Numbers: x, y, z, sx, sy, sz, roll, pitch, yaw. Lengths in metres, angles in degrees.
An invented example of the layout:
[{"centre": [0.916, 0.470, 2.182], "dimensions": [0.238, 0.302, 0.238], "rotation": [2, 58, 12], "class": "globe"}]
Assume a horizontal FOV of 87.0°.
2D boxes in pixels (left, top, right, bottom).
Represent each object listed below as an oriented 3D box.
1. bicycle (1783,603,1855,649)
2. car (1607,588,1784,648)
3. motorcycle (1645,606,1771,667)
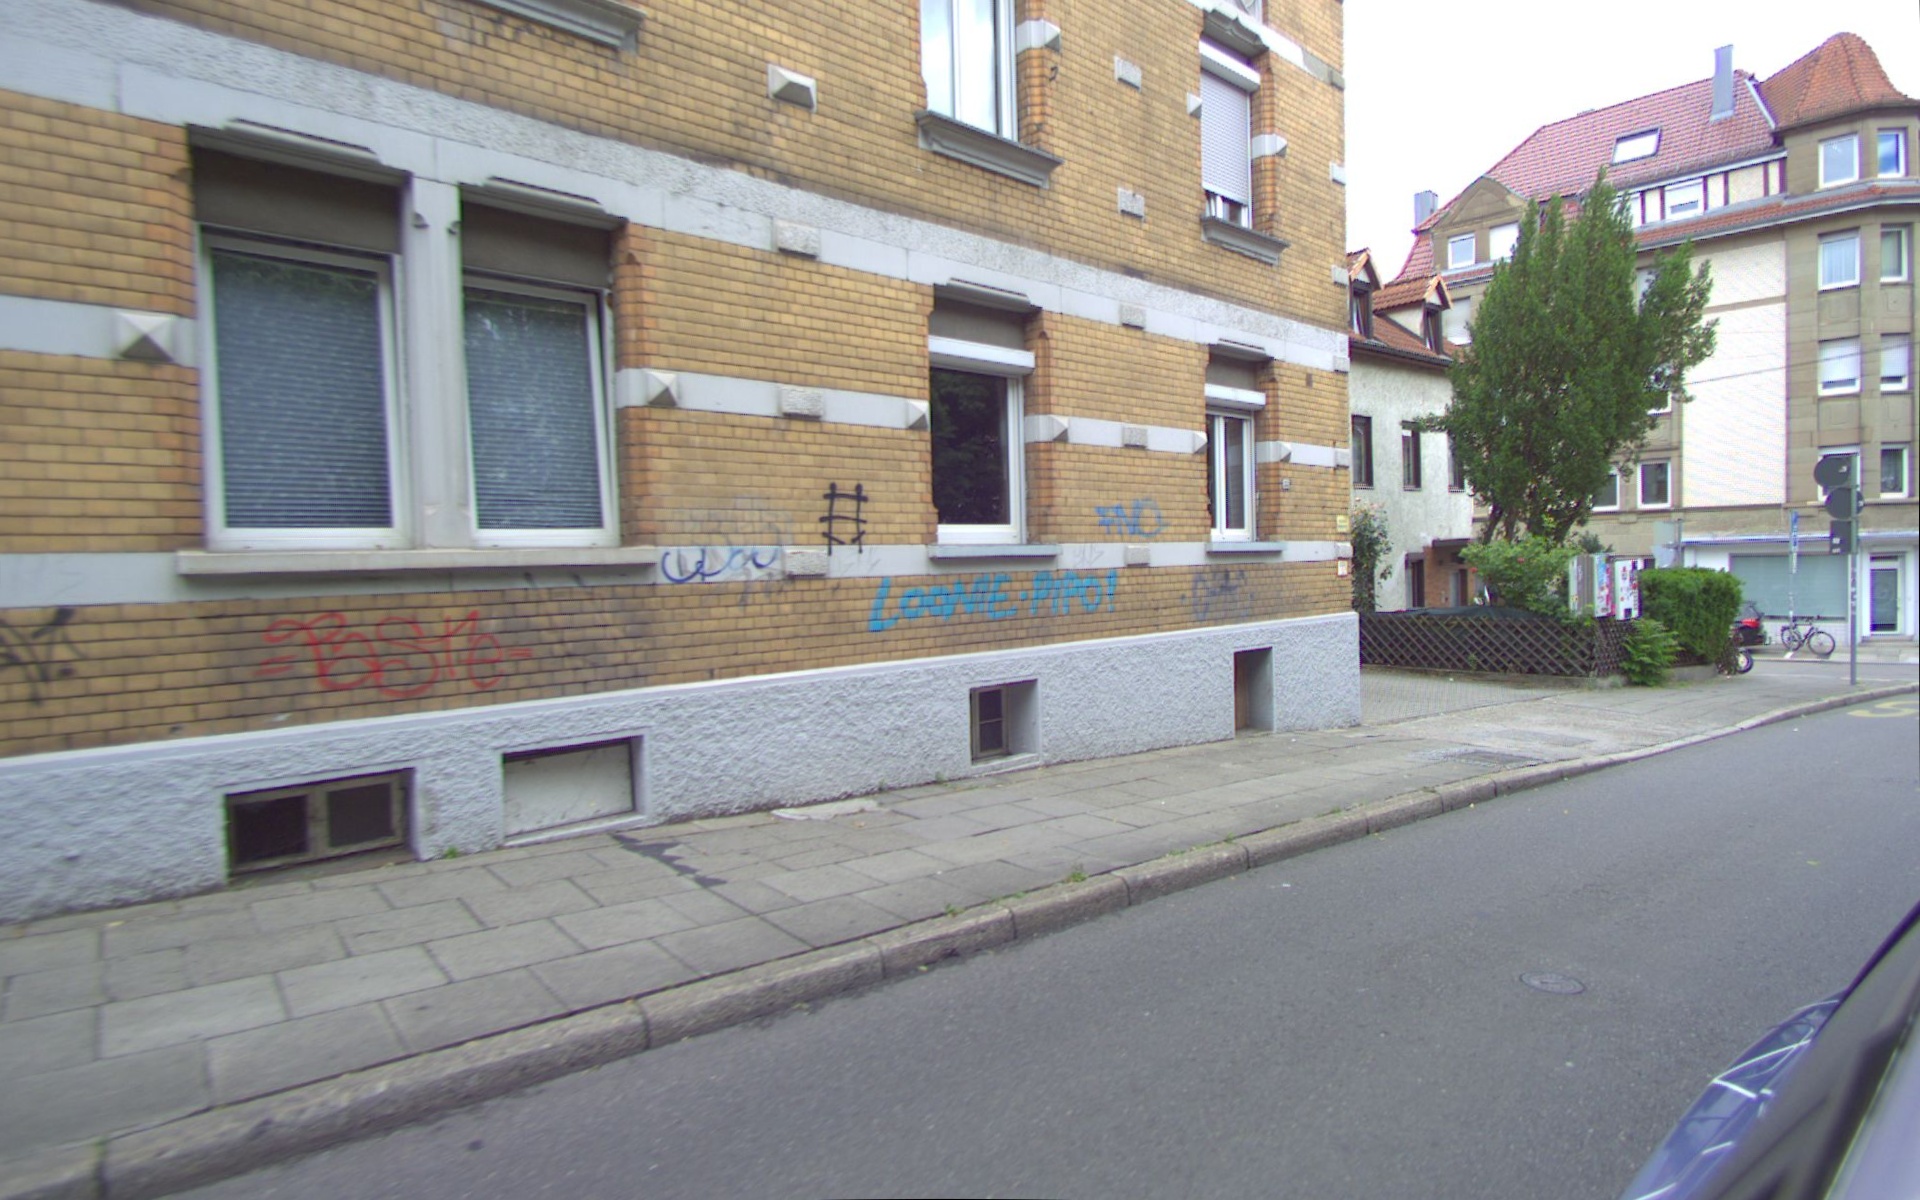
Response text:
[{"centre": [25.625, 0.754, 30.227], "dimensions": [0.631, 1.153, 2.071], "rotation": [-3, 3, 9], "class": "bicycle"}, {"centre": [23.145, 0.542, 31.946], "dimensions": [4.360, 1.665, 1.761], "rotation": [-1, 4, 42], "class": "car"}, {"centre": [16.535, 0.793, 22.407], "dimensions": [0.992, 1.284, 2.058], "rotation": [1, -1, -41], "class": "motorcycle"}]
